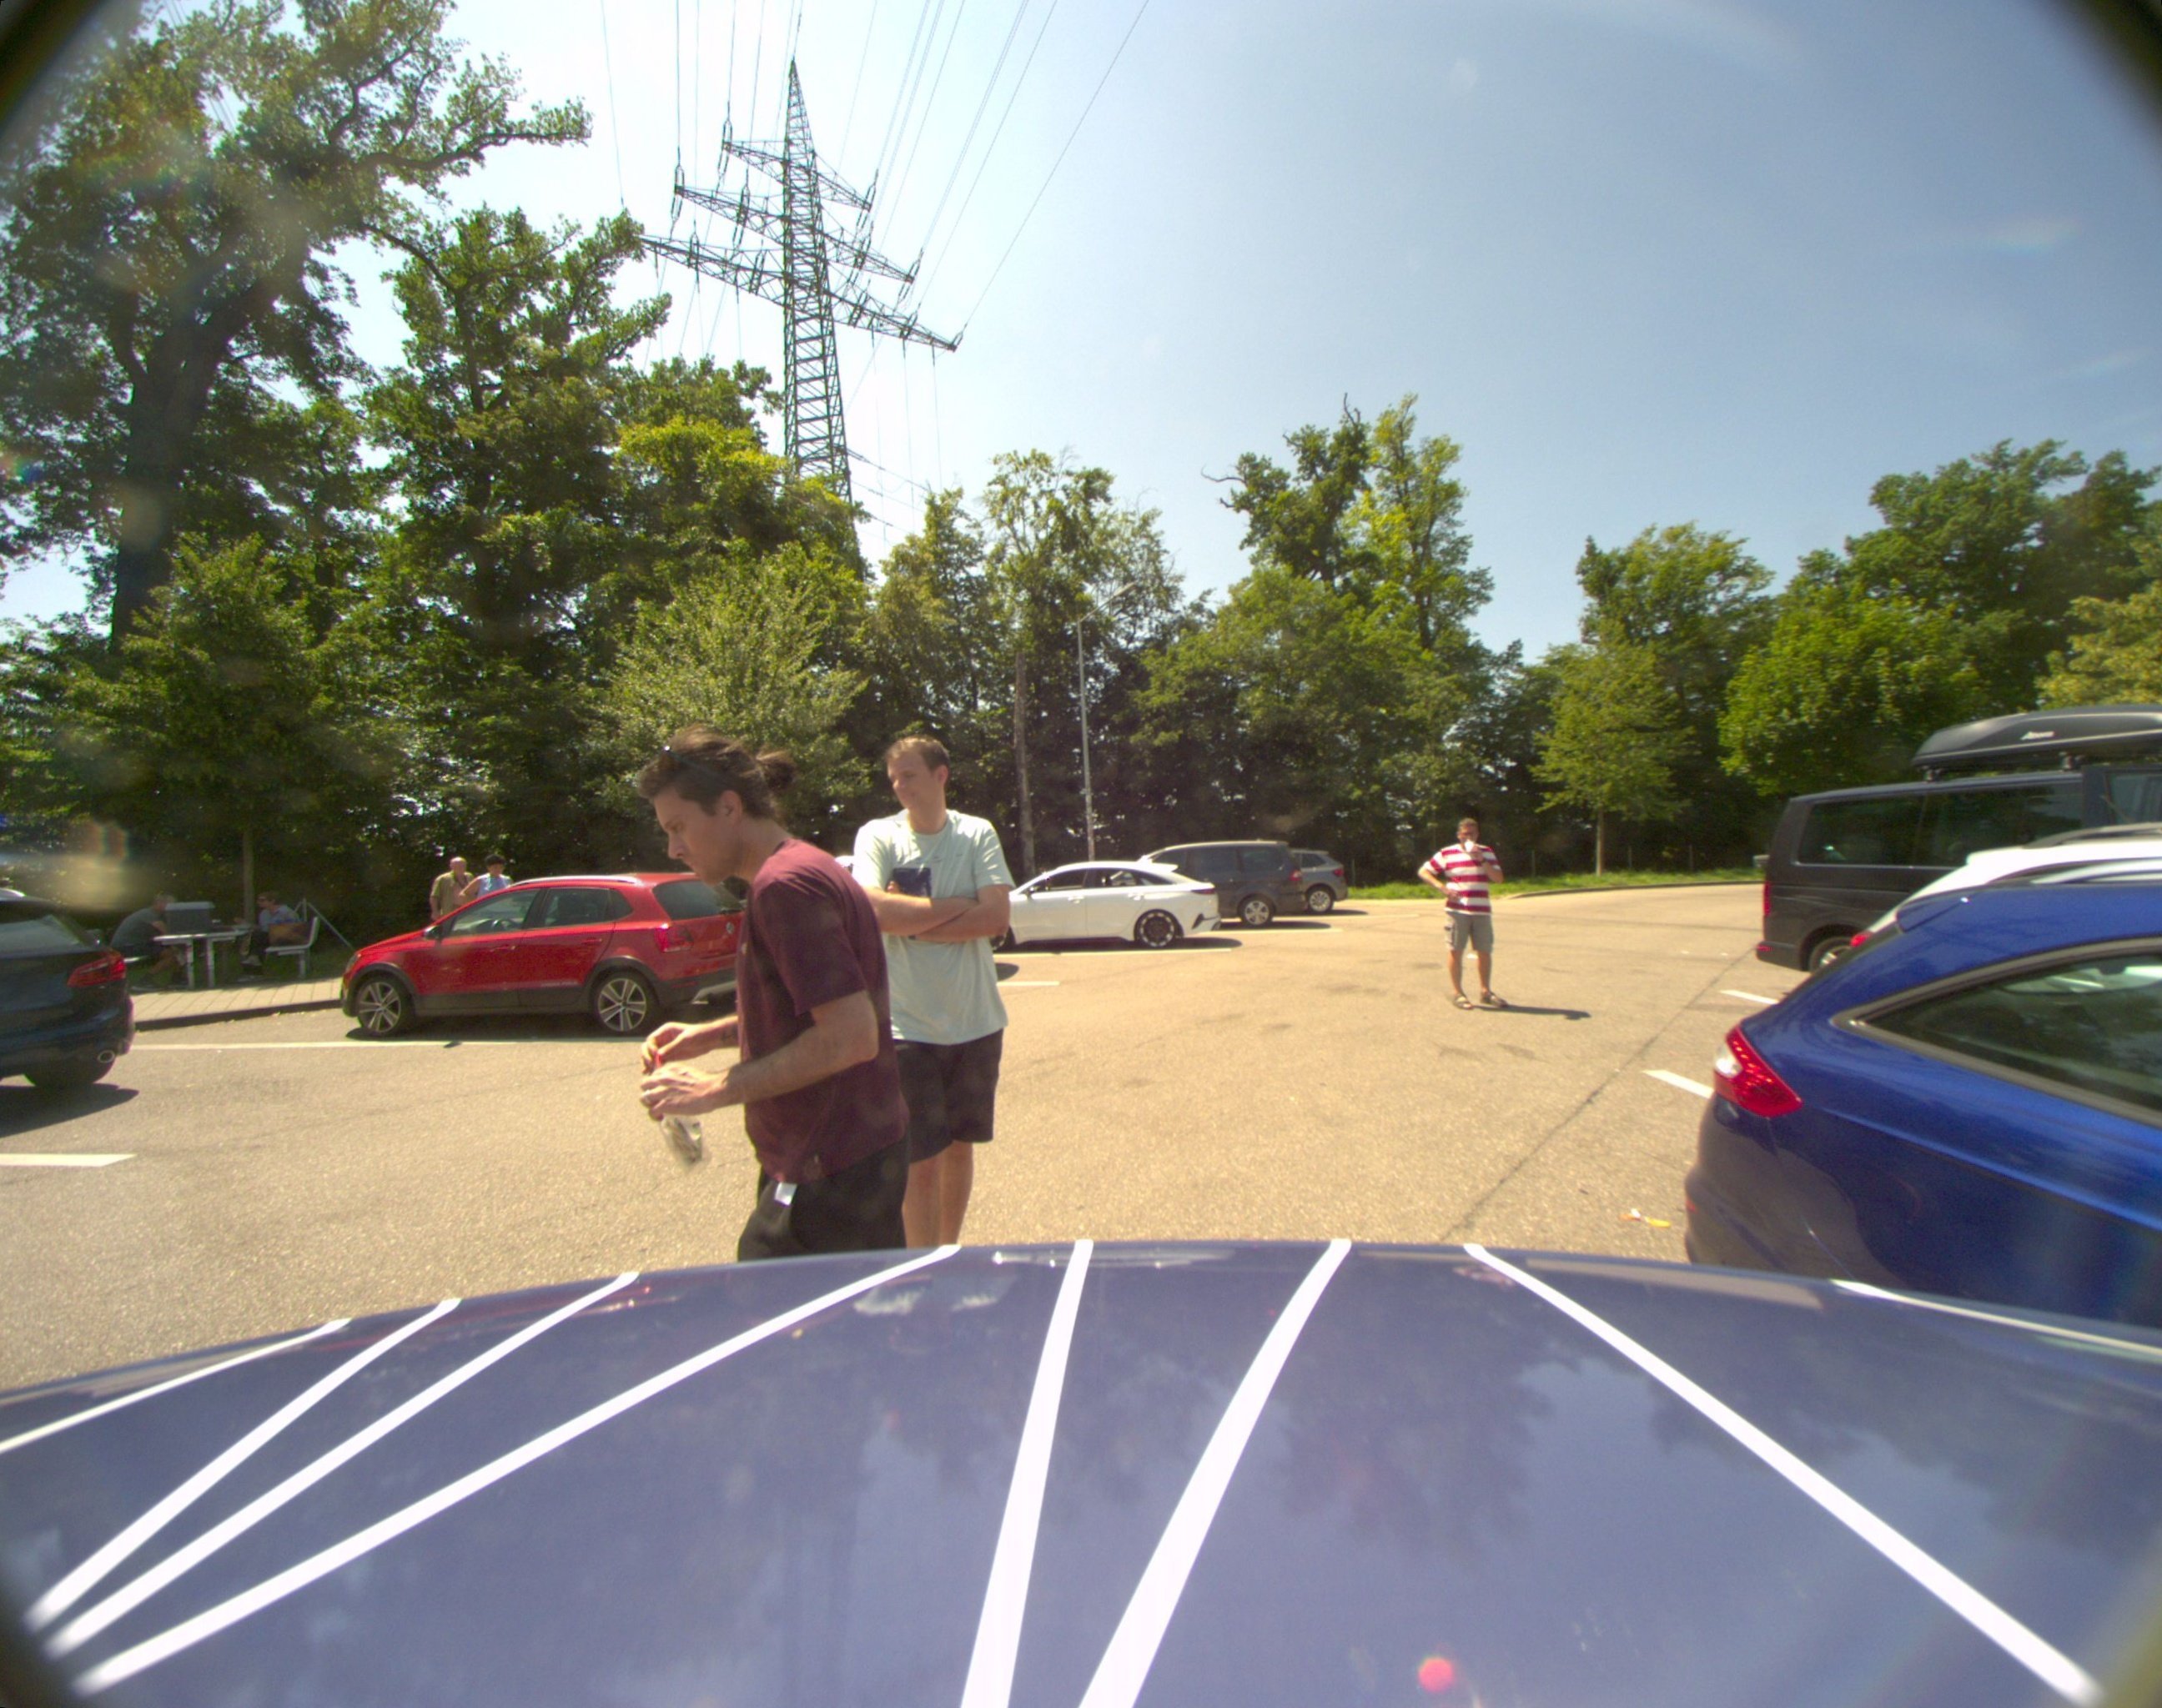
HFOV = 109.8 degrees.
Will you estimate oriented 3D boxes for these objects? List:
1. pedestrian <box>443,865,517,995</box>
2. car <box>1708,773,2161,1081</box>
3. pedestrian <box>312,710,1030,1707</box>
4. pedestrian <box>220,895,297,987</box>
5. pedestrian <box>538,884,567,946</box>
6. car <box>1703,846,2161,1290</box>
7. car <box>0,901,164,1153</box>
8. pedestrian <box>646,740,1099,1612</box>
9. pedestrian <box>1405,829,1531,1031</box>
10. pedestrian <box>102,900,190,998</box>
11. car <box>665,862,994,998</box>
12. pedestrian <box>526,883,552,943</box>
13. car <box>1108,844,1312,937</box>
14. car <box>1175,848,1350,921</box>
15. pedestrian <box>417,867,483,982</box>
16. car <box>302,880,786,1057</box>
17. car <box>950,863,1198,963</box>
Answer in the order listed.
[{"bbox_3d":[-7.824,0.958,9.891,0.648,1.596,0.571,-3,2,-43],"label":"pedestrian"},{"bbox_3d":[7.375,0.417,5.273,1.758,1.886,4.571,-3,-1,-9],"label":"car"},{"bbox_3d":[-0.597,0.763,1.511,0.813,1.894,0.921,-2,1,3],"label":"pedestrian"},{"bbox_3d":[-11.861,1.233,10.975,0.595,1.238,0.499,-3,1,-33],"label":"pedestrian"},{"bbox_3d":[-10.163,1.167,14.612,0.357,1.158,0.384,-3,2,-41],"label":"pedestrian"},{"bbox_3d":[4.647,0.731,2.241,1.757,1.496,4.574,-3,-1,-1],"label":"car"},{"bbox_3d":[-9.031,1.175,4.993,4.338,1.544,1.749,-1,1,8],"label":"car"},{"bbox_3d":[-0.537,0.721,2.256,0.812,1.939,0.922,-2,1,24],"label":"pedestrian"},{"bbox_3d":[3.545,0.664,7.020,0.754,1.744,0.785,-2,1,5],"label":"pedestrian"},{"bbox_3d":[-12.727,1.273,10.361,0.595,1.238,0.446,-3,1,-33],"label":"pedestrian"},{"bbox_3d":[-3.249,0.964,10.288,3.825,1.546,1.651,-2,1,4],"label":"car"},{"bbox_3d":[-11.008,1.190,15.428,0.357,1.158,0.384,-3,2,-41],"label":"pedestrian"},{"bbox_3d":[2.607,0.713,15.445,3.822,1.686,1.652,-2,1,12],"label":"car"},{"bbox_3d":[4.267,0.710,18.141,3.822,1.551,1.652,-2,1,12],"label":"car"},{"bbox_3d":[-9.241,0.999,11.124,0.648,1.596,0.571,-3,2,-43],"label":"pedestrian"},{"bbox_3d":[-5.230,1.093,7.659,3.823,1.460,1.651,-2,1,8],"label":"car"},{"bbox_3d":[-0.074,0.935,12.663,3.825,1.394,1.651,-2,1,4],"label":"car"}]
